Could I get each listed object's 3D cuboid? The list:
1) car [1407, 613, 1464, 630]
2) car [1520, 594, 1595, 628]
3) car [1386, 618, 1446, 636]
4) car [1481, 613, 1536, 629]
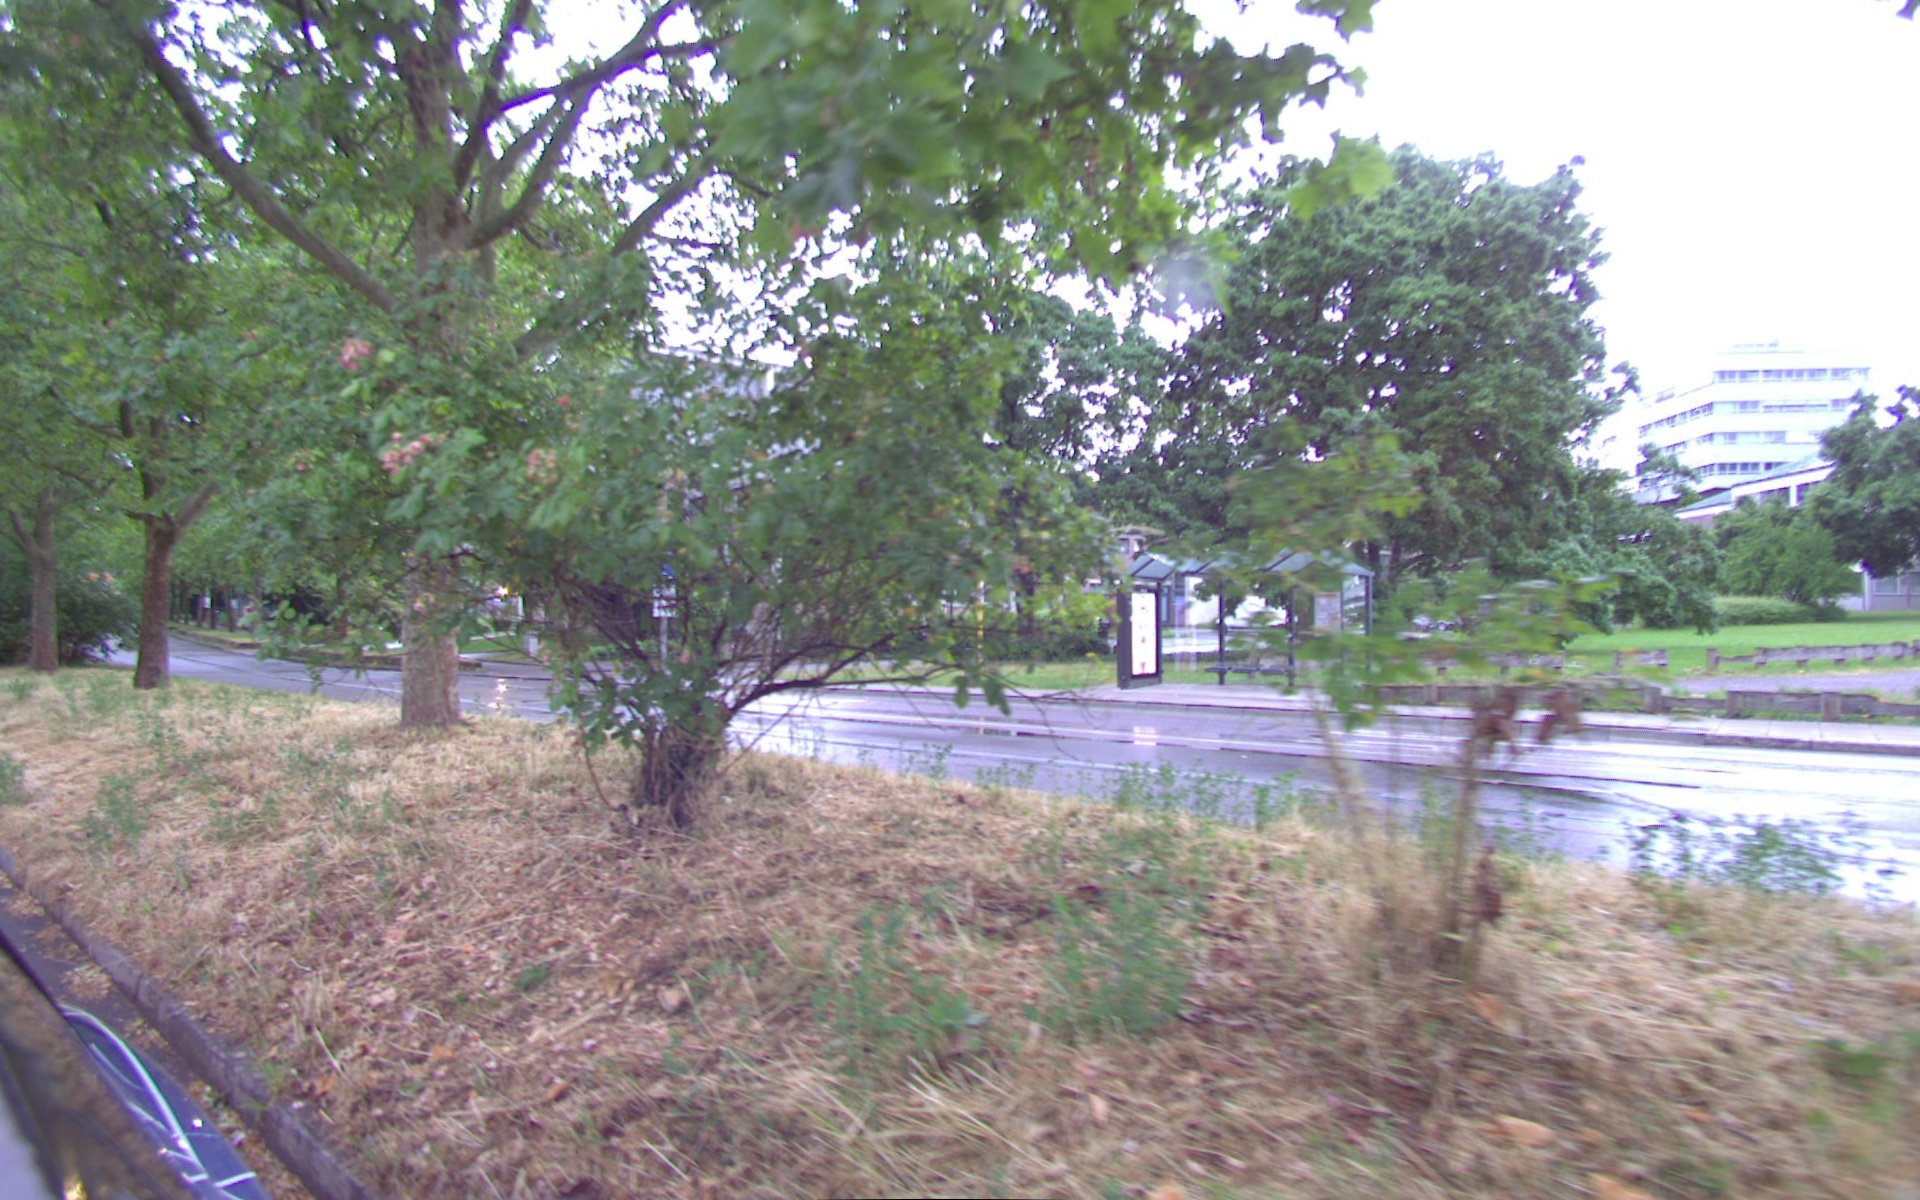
[{"bbox_3d":[35.590,1.599,75.798,1.566,1.151,3.564,-1,0,-37],"label":"car"},{"bbox_3d":[53.234,0.919,90.144,6.359,2.838,3.607,-1,1,-36],"label":"car"},{"bbox_3d":[32.579,1.896,72.361,1.566,1.151,3.564,-1,1,-37],"label":"car"},{"bbox_3d":[44.097,1.653,81.458,1.566,1.151,3.564,-1,1,-37],"label":"car"}]
